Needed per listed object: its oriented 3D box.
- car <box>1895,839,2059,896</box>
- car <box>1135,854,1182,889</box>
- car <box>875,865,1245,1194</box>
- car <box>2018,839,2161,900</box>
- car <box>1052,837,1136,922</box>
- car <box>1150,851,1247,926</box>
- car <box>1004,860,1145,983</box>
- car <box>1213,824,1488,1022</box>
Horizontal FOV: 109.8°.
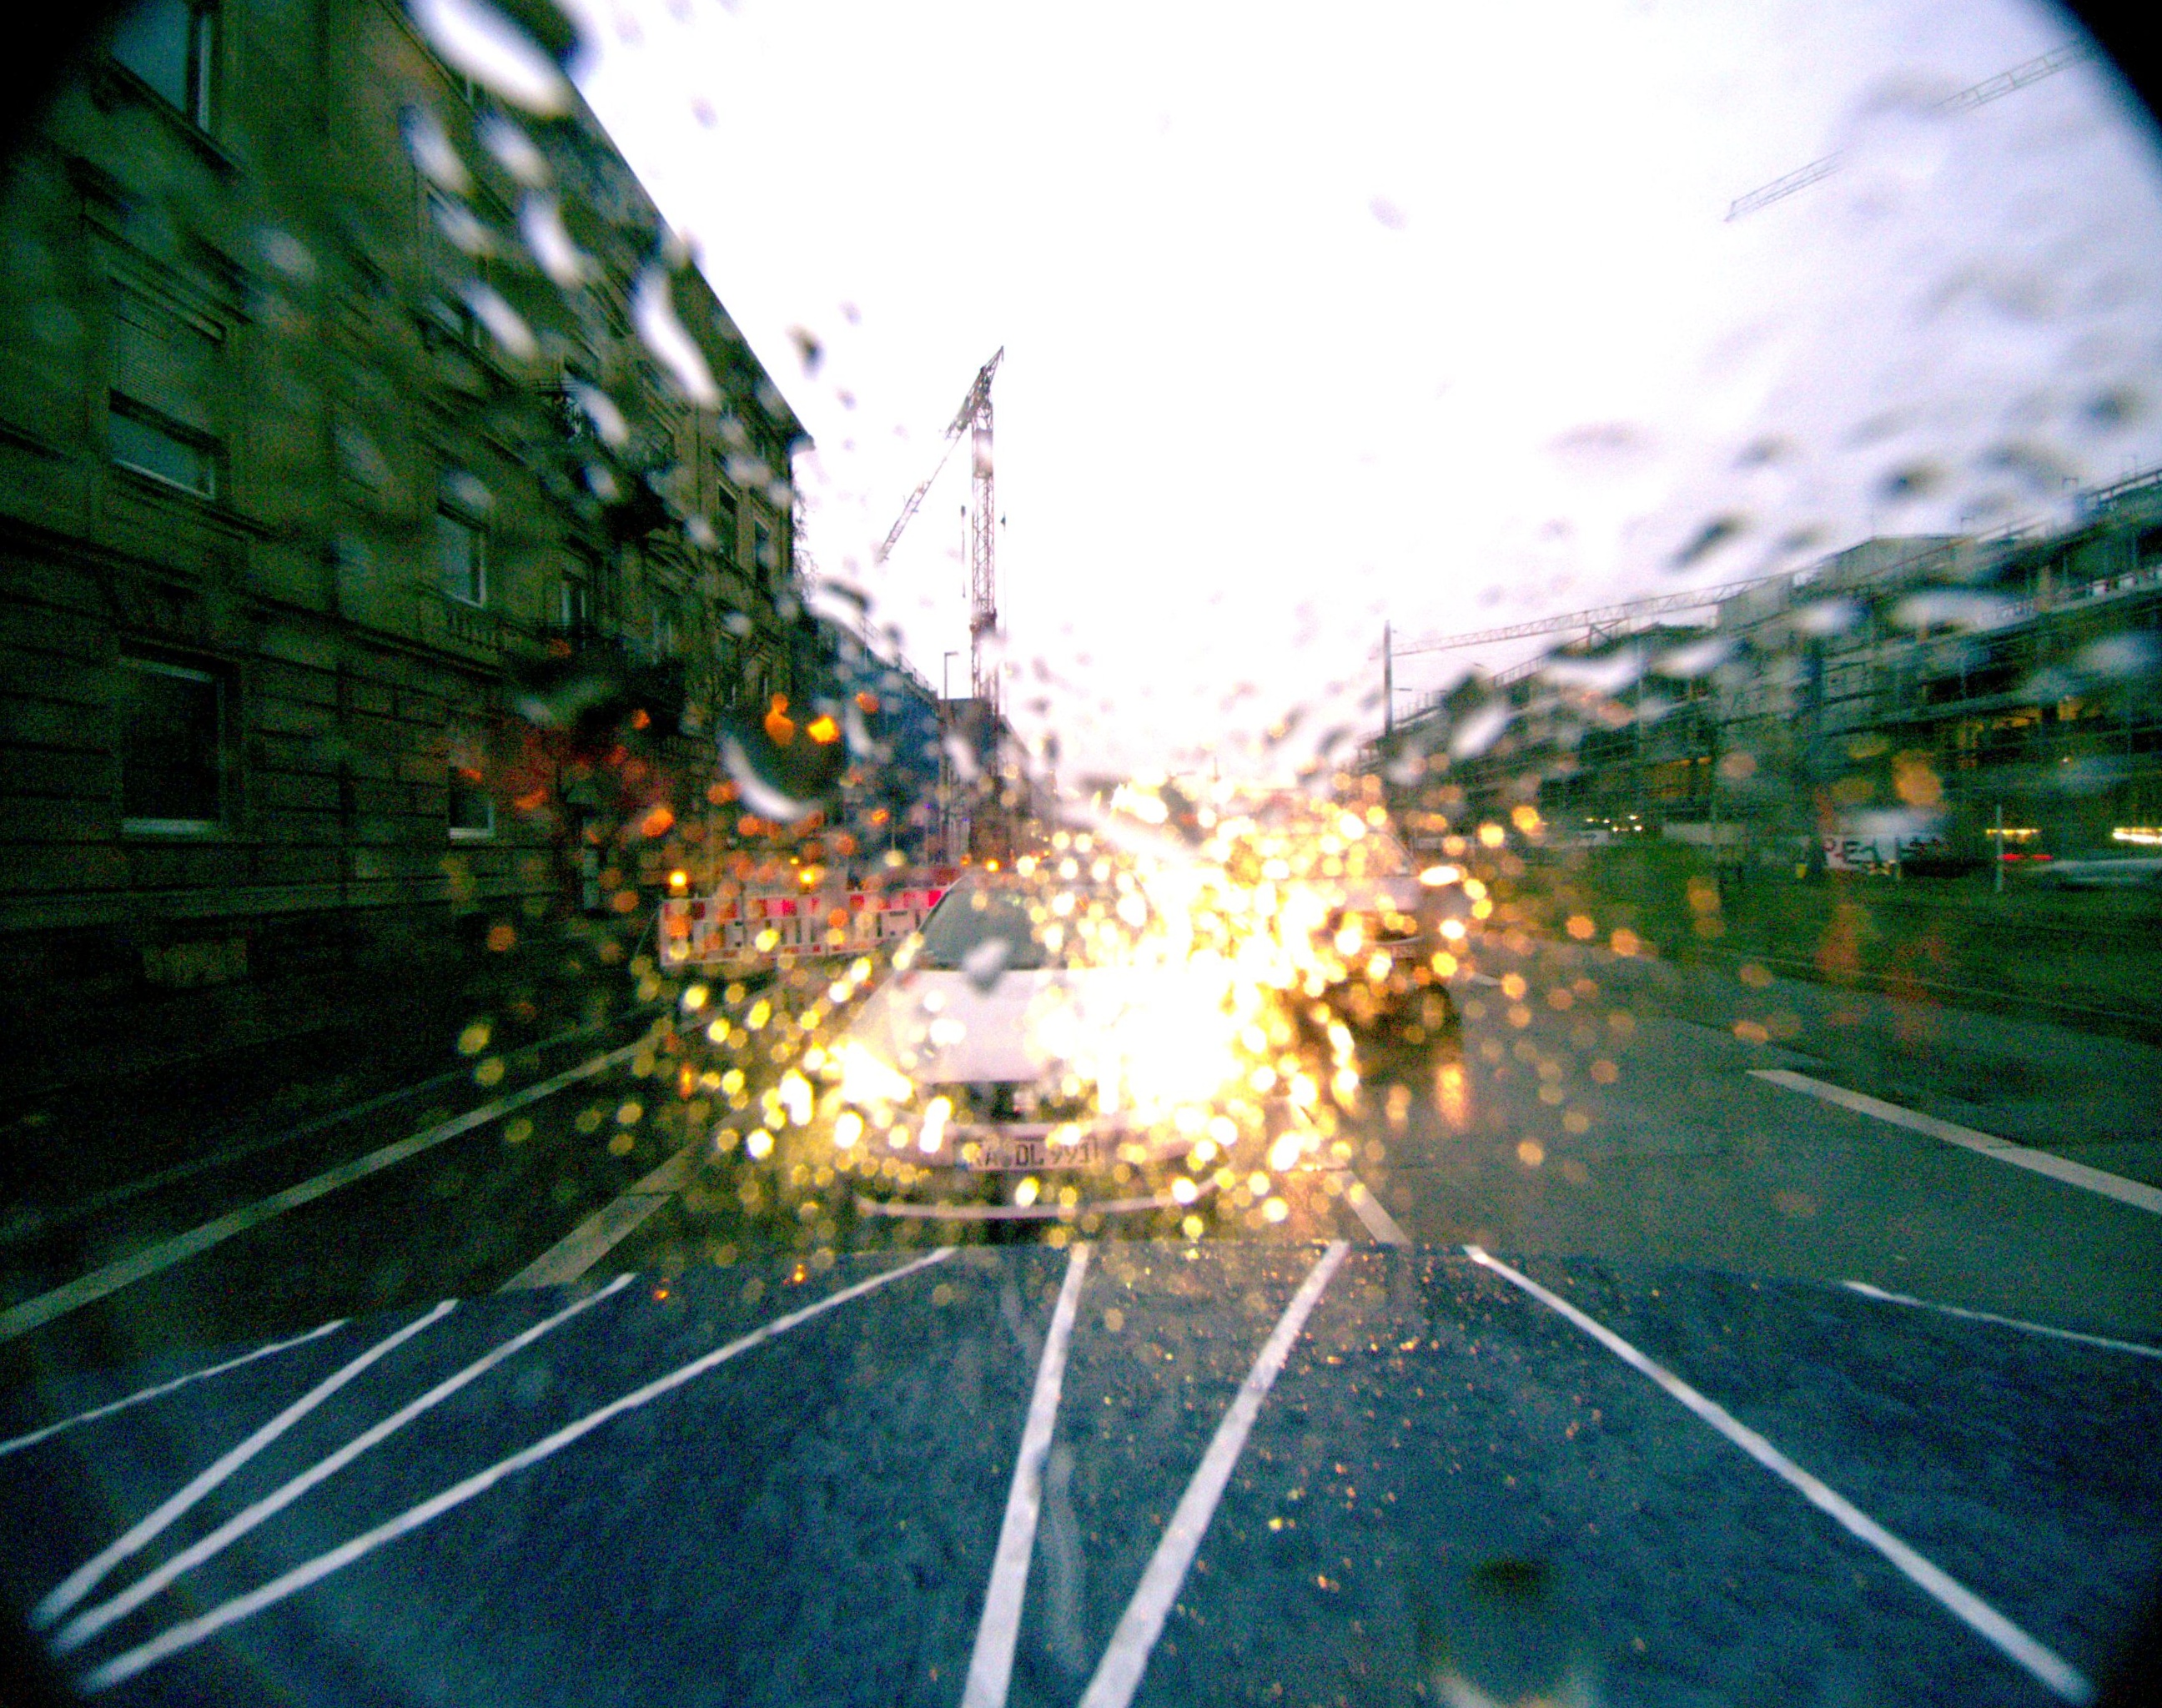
[{"bbox_3d":[36.834,0.507,31.417,1.957,2.110,4.083,-2,1,1],"label":"car"},{"bbox_3d":[3.792,0.840,37.764,1.844,1.547,3.999,-2,1,0],"label":"car"},{"bbox_3d":[-0.141,0.891,5.738,1.764,1.443,3.999,-2,1,-1],"label":"car"},{"bbox_3d":[31.334,0.416,22.572,1.957,1.677,4.083,-2,1,0],"label":"car"},{"bbox_3d":[0.260,0.555,19.487,1.858,1.886,3.999,-2,1,-1],"label":"car"},{"bbox_3d":[2.929,0.798,19.768,1.844,1.644,4.323,-2,1,1],"label":"car"},{"bbox_3d":[-0.128,0.881,11.795,1.764,1.443,3.999,-2,1,-1],"label":"car"},{"bbox_3d":[2.775,0.601,8.850,1.858,1.723,4.000,-2,1,2],"label":"car"}]
